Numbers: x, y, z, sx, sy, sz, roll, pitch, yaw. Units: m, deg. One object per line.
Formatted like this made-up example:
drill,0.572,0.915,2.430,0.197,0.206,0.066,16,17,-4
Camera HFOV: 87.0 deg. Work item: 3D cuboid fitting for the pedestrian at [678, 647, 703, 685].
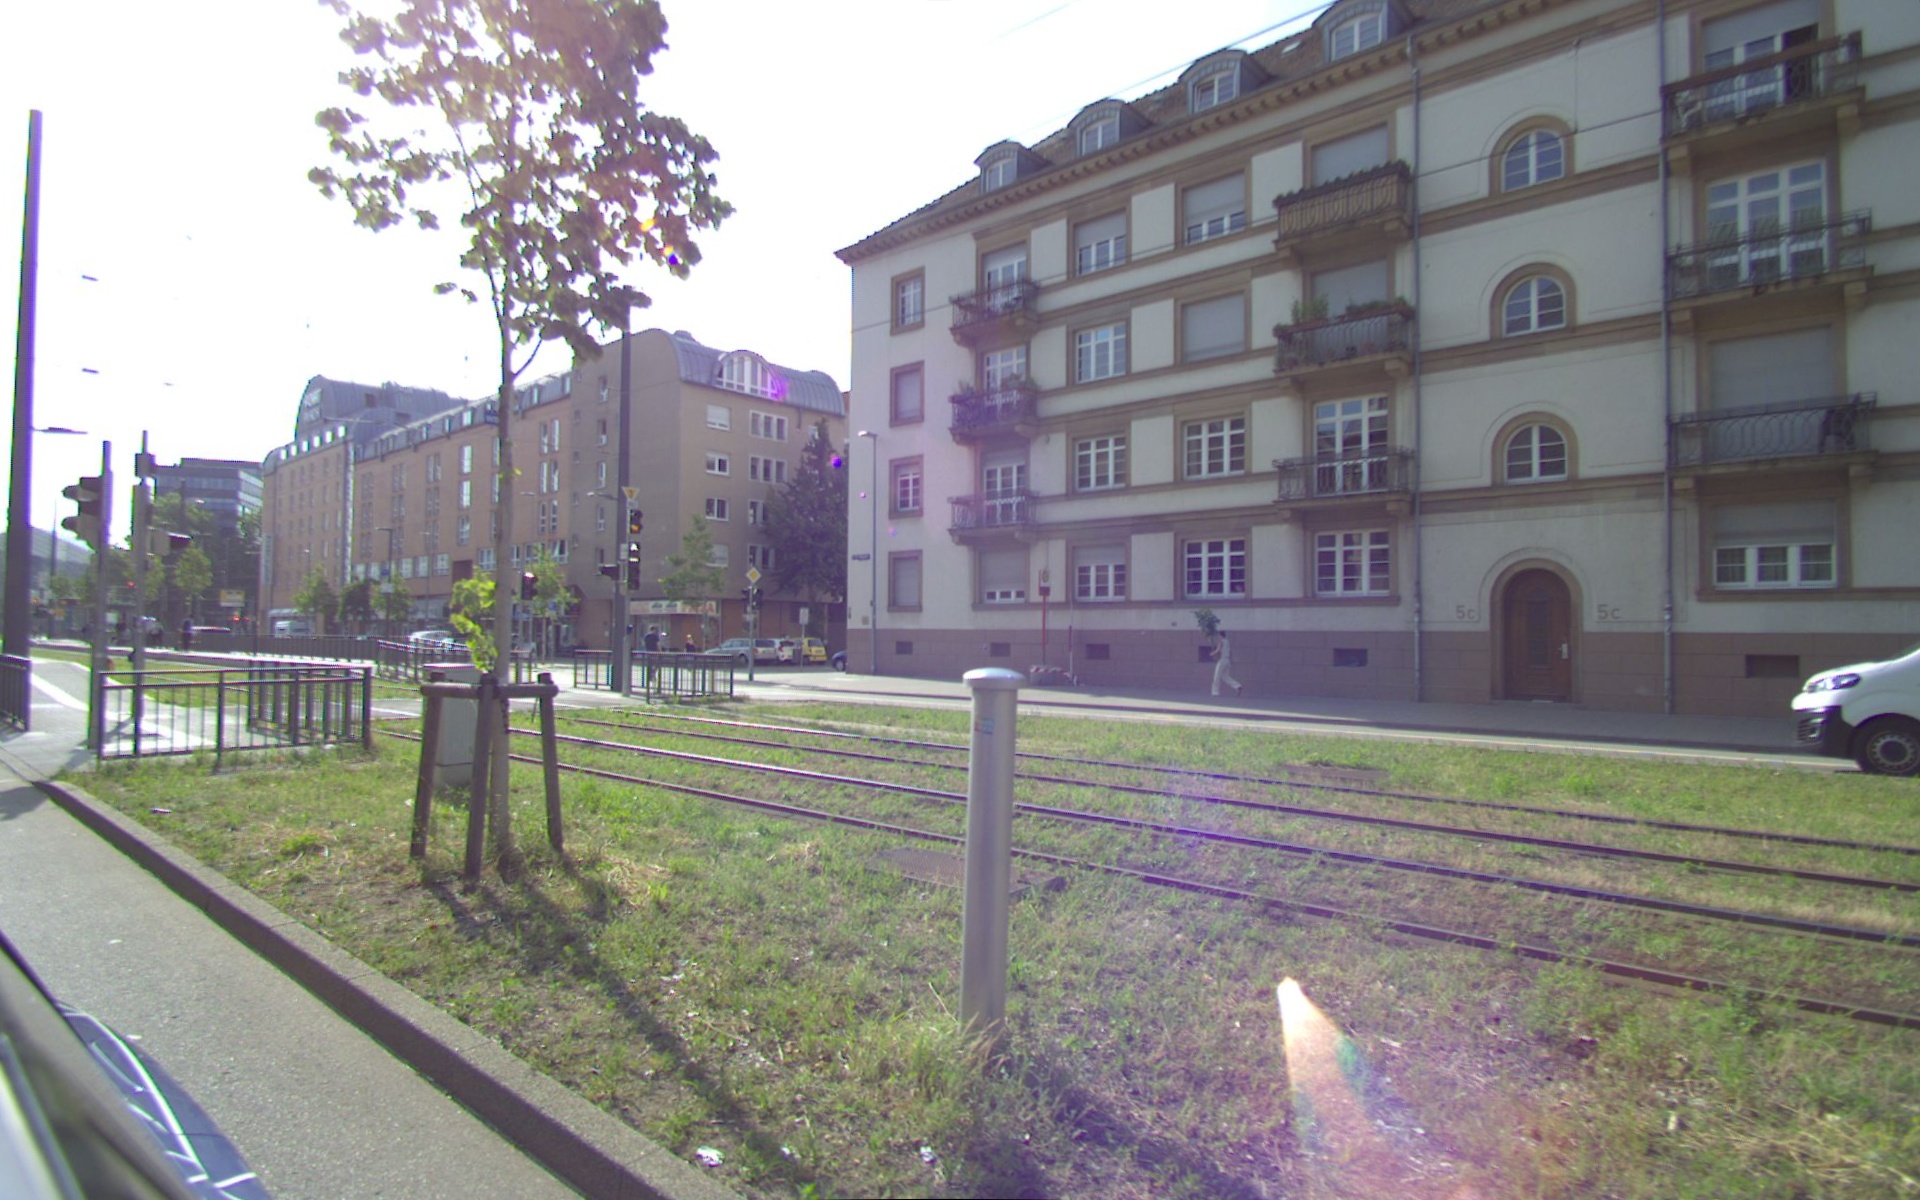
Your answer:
pedestrian,-11.517,2.804,43.225,0.807,1.595,0.671,-2,-3,38

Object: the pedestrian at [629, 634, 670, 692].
pedestrian,-10.304,2.069,33.648,0.856,1.882,1.066,0,-2,14

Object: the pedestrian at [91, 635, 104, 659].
pedestrian,-64.535,3.485,75.720,0.698,1.774,0.644,-1,0,42

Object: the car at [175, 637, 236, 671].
car,-47.124,3.335,63.190,4.928,2.029,1.973,-2,-3,40

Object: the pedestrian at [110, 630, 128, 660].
pedestrian,-53.387,2.832,64.249,0.555,1.901,0.796,-2,-3,42

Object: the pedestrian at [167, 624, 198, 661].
pedestrian,-39.664,2.170,51.645,0.735,1.886,0.934,0,-3,17

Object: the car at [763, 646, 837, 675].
car,-9.115,3.415,57.552,3.995,1.519,1.974,-2,-3,39

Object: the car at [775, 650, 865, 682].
car,-6.283,2.917,45.251,3.991,1.364,1.566,-1,-3,35

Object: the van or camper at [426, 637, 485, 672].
van or camper,-29.340,3.127,58.793,1.907,1.983,4.003,3,-3,-44

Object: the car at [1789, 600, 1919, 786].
car,11.624,0.958,10.130,5.044,1.909,1.972,-2,-4,41

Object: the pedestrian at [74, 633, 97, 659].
pedestrian,-61.097,3.207,70.732,0.824,1.760,0.784,1,-4,5

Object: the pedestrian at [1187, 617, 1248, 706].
pedestrian,6.212,1.452,24.412,1.156,2.084,0.833,-2,-2,42

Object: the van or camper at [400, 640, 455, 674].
van or camper,-33.064,3.523,62.798,1.970,2.029,4.003,3,-4,-44

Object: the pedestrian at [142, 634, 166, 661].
pedestrian,-46.900,2.744,58.883,0.803,1.542,0.676,0,-2,10

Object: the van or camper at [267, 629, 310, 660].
van or camper,-63.253,4.196,95.340,5.351,2.823,1.972,-2,-4,42

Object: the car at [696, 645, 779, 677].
car,-11.668,3.168,52.989,4.548,1.612,1.747,-2,-3,37
